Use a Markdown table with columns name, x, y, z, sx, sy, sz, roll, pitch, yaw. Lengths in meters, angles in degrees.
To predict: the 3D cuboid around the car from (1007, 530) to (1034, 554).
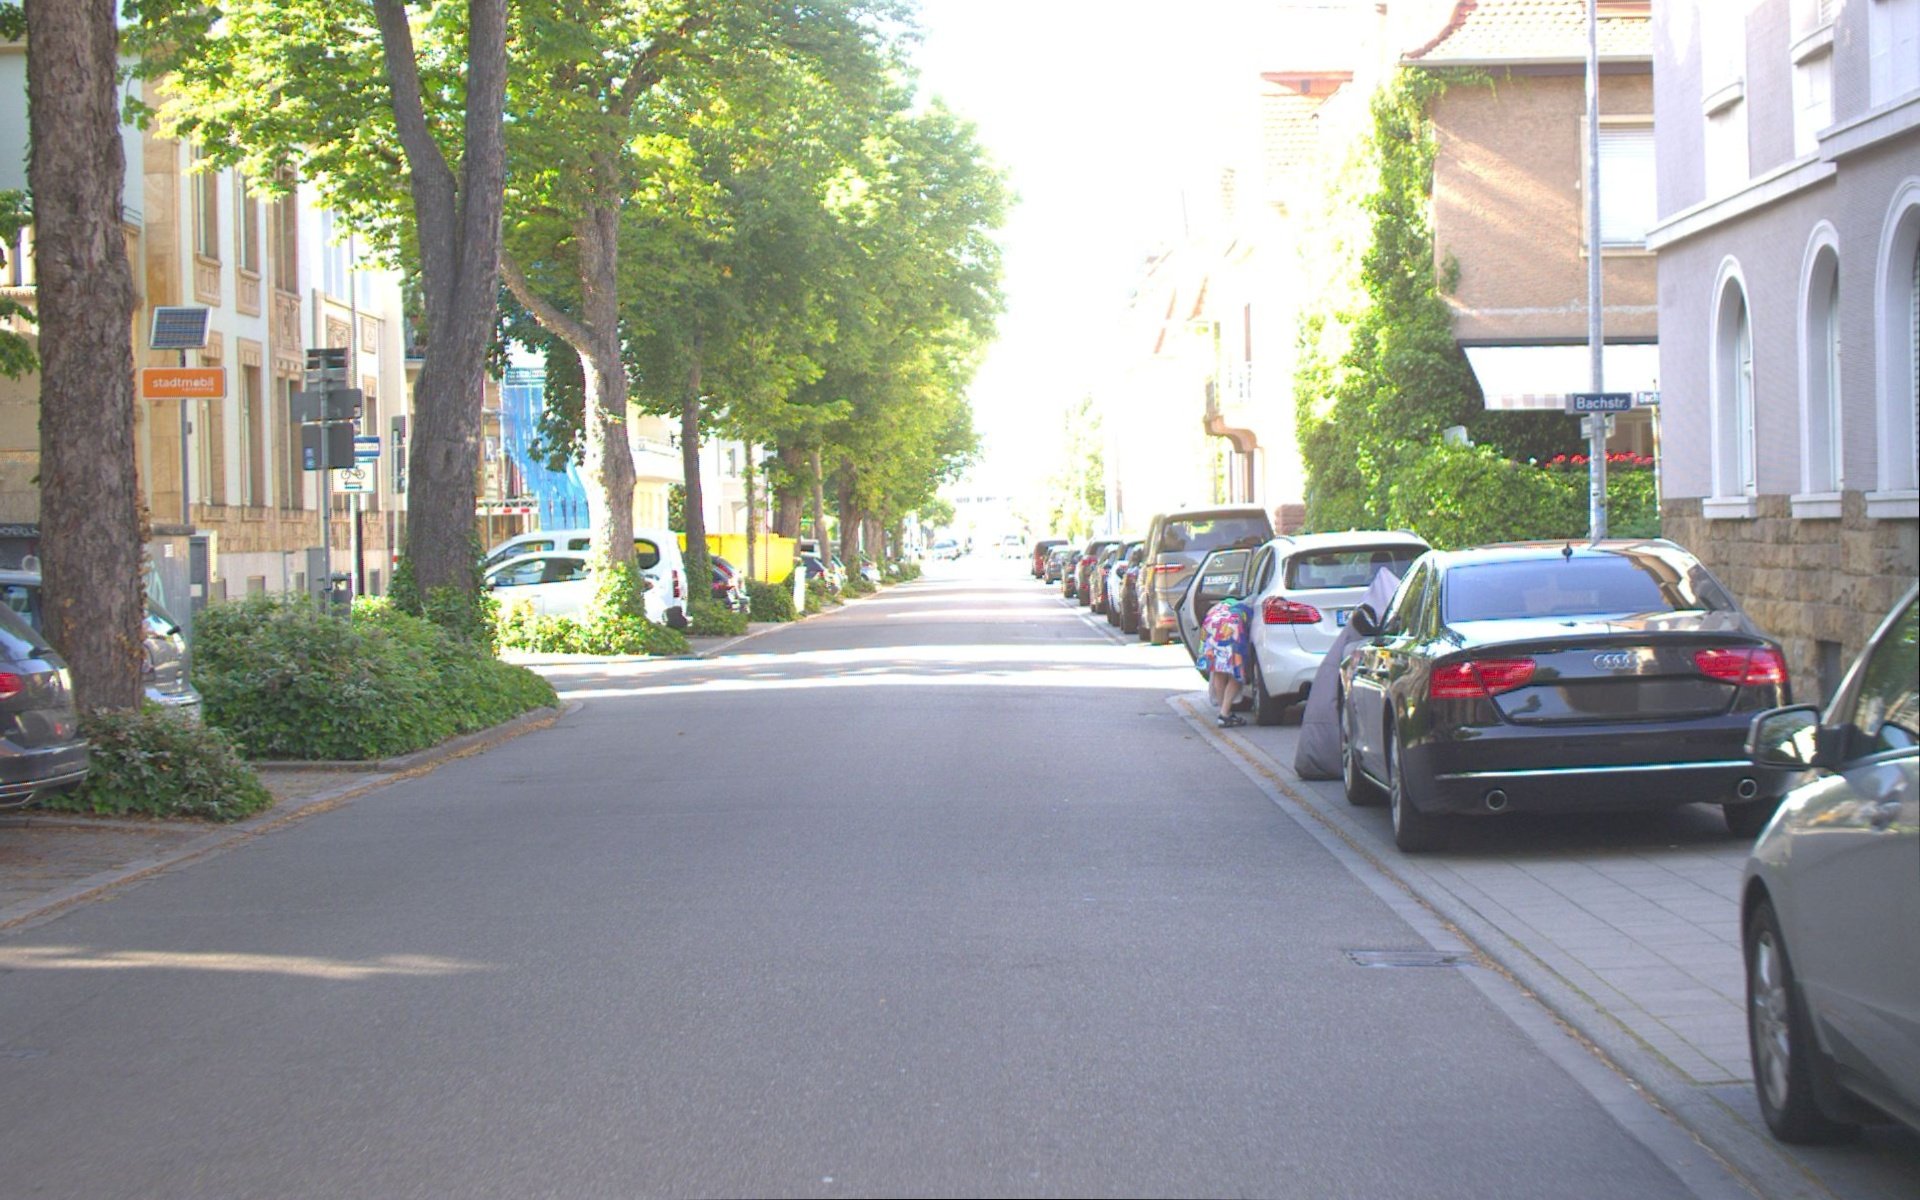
| name | x | y | z | sx | sy | sz | roll | pitch | yaw |
| --- | --- | --- | --- | --- | --- | --- | --- | --- | --- |
| car | 4.182 | -4.007 | 237.483 | 1.771 | 1.625 | 3.866 | -1 | 1 | 2 |

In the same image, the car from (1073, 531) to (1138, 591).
| name | x | y | z | sx | sy | sz | roll | pitch | yaw |
| --- | --- | --- | --- | --- | --- | --- | --- | --- | --- |
| car | 4.051 | -1.111 | 96.201 | 1.771 | 1.625 | 3.866 | -1 | 1 | 2 |

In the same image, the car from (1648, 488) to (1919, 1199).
| name | x | y | z | sx | sy | sz | roll | pitch | yaw |
| --- | --- | --- | --- | --- | --- | --- | --- | --- | --- |
| car | 2.754 | 0.526 | 7.306 | 1.789 | 1.595 | 4.000 | -3 | 0 | 1 |

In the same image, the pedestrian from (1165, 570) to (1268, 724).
| name | x | y | z | sx | sy | sz | roll | pitch | yaw |
| --- | --- | --- | --- | --- | --- | --- | --- | --- | --- |
| pedestrian | 2.142 | 0.385 | 28.792 | 0.723 | 1.253 | 0.646 | -2 | 1 | -6 |

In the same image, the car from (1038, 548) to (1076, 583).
| name | x | y | z | sx | sy | sz | roll | pitch | yaw |
| --- | --- | --- | --- | --- | --- | --- | --- | --- | --- |
| car | 4.710 | -1.679 | 166.916 | 1.771 | 1.625 | 3.866 | -1 | 1 | 2 |

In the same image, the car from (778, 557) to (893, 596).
| name | x | y | z | sx | sy | sz | roll | pitch | yaw |
| --- | --- | --- | --- | --- | --- | --- | --- | --- | --- |
| car | -4.692 | -0.895 | 129.785 | 3.990 | 1.404 | 1.700 | 0 | 1 | 18 |

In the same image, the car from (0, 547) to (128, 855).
| name | x | y | z | sx | sy | sz | roll | pitch | yaw |
| --- | --- | --- | --- | --- | --- | --- | --- | --- | --- |
| car | -6.770 | 0.489 | 17.671 | 4.532 | 1.498 | 1.892 | 0 | 1 | -1 |

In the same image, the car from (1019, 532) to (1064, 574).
| name | x | y | z | sx | sy | sz | roll | pitch | yaw |
| --- | --- | --- | --- | --- | --- | --- | --- | --- | --- |
| car | 3.278 | -1.888 | 138.237 | 1.771 | 1.625 | 3.866 | -1 | 1 | 2 |

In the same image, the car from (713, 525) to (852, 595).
| name | x | y | z | sx | sy | sz | roll | pitch | yaw |
| --- | --- | --- | --- | --- | --- | --- | --- | --- | --- |
| car | -5.323 | -1.205 | 102.936 | 3.986 | 2.007 | 2.000 | -1 | 1 | -7 |

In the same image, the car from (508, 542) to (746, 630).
| name | x | y | z | sx | sy | sz | roll | pitch | yaw |
| --- | --- | --- | --- | --- | --- | --- | --- | --- | --- |
| car | -5.915 | -0.260 | 61.424 | 3.987 | 1.464 | 1.864 | -1 | 2 | 3 |

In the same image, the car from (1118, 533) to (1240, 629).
| name | x | y | z | sx | sy | sz | roll | pitch | yaw |
| --- | --- | --- | --- | --- | --- | --- | --- | --- | --- |
| car | 3.511 | -0.330 | 55.665 | 1.690 | 1.394 | 3.805 | -4 | 1 | 0 |

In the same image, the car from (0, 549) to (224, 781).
| name | x | y | z | sx | sy | sz | roll | pitch | yaw |
| --- | --- | --- | --- | --- | --- | --- | --- | --- | --- |
| car | -6.916 | 0.413 | 22.884 | 3.674 | 1.482 | 1.641 | 0 | 1 | 0 |

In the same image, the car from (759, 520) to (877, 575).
| name | x | y | z | sx | sy | sz | roll | pitch | yaw |
| --- | --- | --- | --- | --- | --- | --- | --- | --- | --- |
| car | -5.095 | -1.906 | 123.724 | 4.007 | 1.834 | 2.000 | 2 | 2 | 3 |

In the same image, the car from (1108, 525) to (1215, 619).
| name | x | y | z | sx | sy | sz | roll | pitch | yaw |
| --- | --- | --- | --- | --- | --- | --- | --- | --- | --- |
| car | 3.570 | -0.531 | 61.453 | 1.789 | 1.612 | 3.866 | -1 | 1 | 2 |

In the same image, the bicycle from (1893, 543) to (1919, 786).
| name | x | y | z | sx | sy | sz | roll | pitch | yaw |
| --- | --- | --- | --- | --- | --- | --- | --- | --- | --- |
| bicycle | 5.827 | 0.358 | 18.263 | 1.082 | 1.333 | 2.250 | -2 | 1 | 0 |

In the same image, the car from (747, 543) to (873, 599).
| name | x | y | z | sx | sy | sz | roll | pitch | yaw |
| --- | --- | --- | --- | --- | --- | --- | --- | --- | --- |
| car | -4.985 | -0.980 | 114.852 | 4.007 | 1.729 | 1.894 | 2 | 2 | 3 |

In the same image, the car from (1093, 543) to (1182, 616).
| name | x | y | z | sx | sy | sz | roll | pitch | yaw |
| --- | --- | --- | --- | --- | --- | --- | --- | --- | --- |
| car | 3.721 | -0.454 | 72.386 | 1.771 | 1.450 | 3.866 | -1 | 1 | 2 |

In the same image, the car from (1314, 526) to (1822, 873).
| name | x | y | z | sx | sy | sz | roll | pitch | yaw |
| --- | --- | --- | --- | --- | --- | --- | --- | --- | --- |
| car | 2.973 | 0.407 | 17.764 | 1.854 | 1.488 | 4.608 | -2 | 1 | 1 |

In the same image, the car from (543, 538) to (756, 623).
| name | x | y | z | sx | sy | sz | roll | pitch | yaw |
| --- | --- | --- | --- | --- | --- | --- | --- | --- | --- |
| car | -5.997 | -0.391 | 66.218 | 3.986 | 1.546 | 1.838 | -1 | 1 | -7 |

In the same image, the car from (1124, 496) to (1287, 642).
| name | x | y | z | sx | sy | sz | roll | pitch | yaw |
| --- | --- | --- | --- | --- | --- | --- | --- | --- | --- |
| car | 3.442 | -0.466 | 48.960 | 1.904 | 1.864 | 4.673 | -4 | 1 | 0 |

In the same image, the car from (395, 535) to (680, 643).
| name | x | y | z | sx | sy | sz | roll | pitch | yaw |
| --- | --- | --- | --- | --- | --- | --- | --- | --- | --- |
| car | -6.135 | -0.163 | 50.252 | 3.986 | 1.459 | 1.798 | 1 | 0 | -3 |

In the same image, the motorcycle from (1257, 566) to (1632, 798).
| name | x | y | z | sx | sy | sz | roll | pitch | yaw |
| --- | --- | --- | --- | --- | --- | --- | --- | --- | --- |
| motorcycle | 3.069 | 0.493 | 21.740 | 2.195 | 1.334 | 0.921 | 2 | 2 | 17 |

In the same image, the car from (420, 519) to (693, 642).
| name | x | y | z | sx | sy | sz | roll | pitch | yaw |
| --- | --- | --- | --- | --- | --- | --- | --- | --- | --- |
| car | -6.123 | -0.303 | 52.488 | 3.986 | 1.755 | 1.798 | 1 | 0 | -3 |

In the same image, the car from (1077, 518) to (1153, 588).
| name | x | y | z | sx | sy | sz | roll | pitch | yaw |
| --- | --- | --- | --- | --- | --- | --- | --- | --- | --- |
| car | 3.751 | -1.156 | 83.562 | 1.771 | 1.625 | 3.866 | -1 | 1 | 2 |

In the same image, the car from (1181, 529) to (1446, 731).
| name | x | y | z | sx | sy | sz | roll | pitch | yaw |
| --- | --- | --- | --- | --- | --- | --- | --- | --- | --- |
| car | 2.968 | 0.204 | 29.662 | 1.699 | 1.534 | 4.156 | -3 | 1 | -1 |
